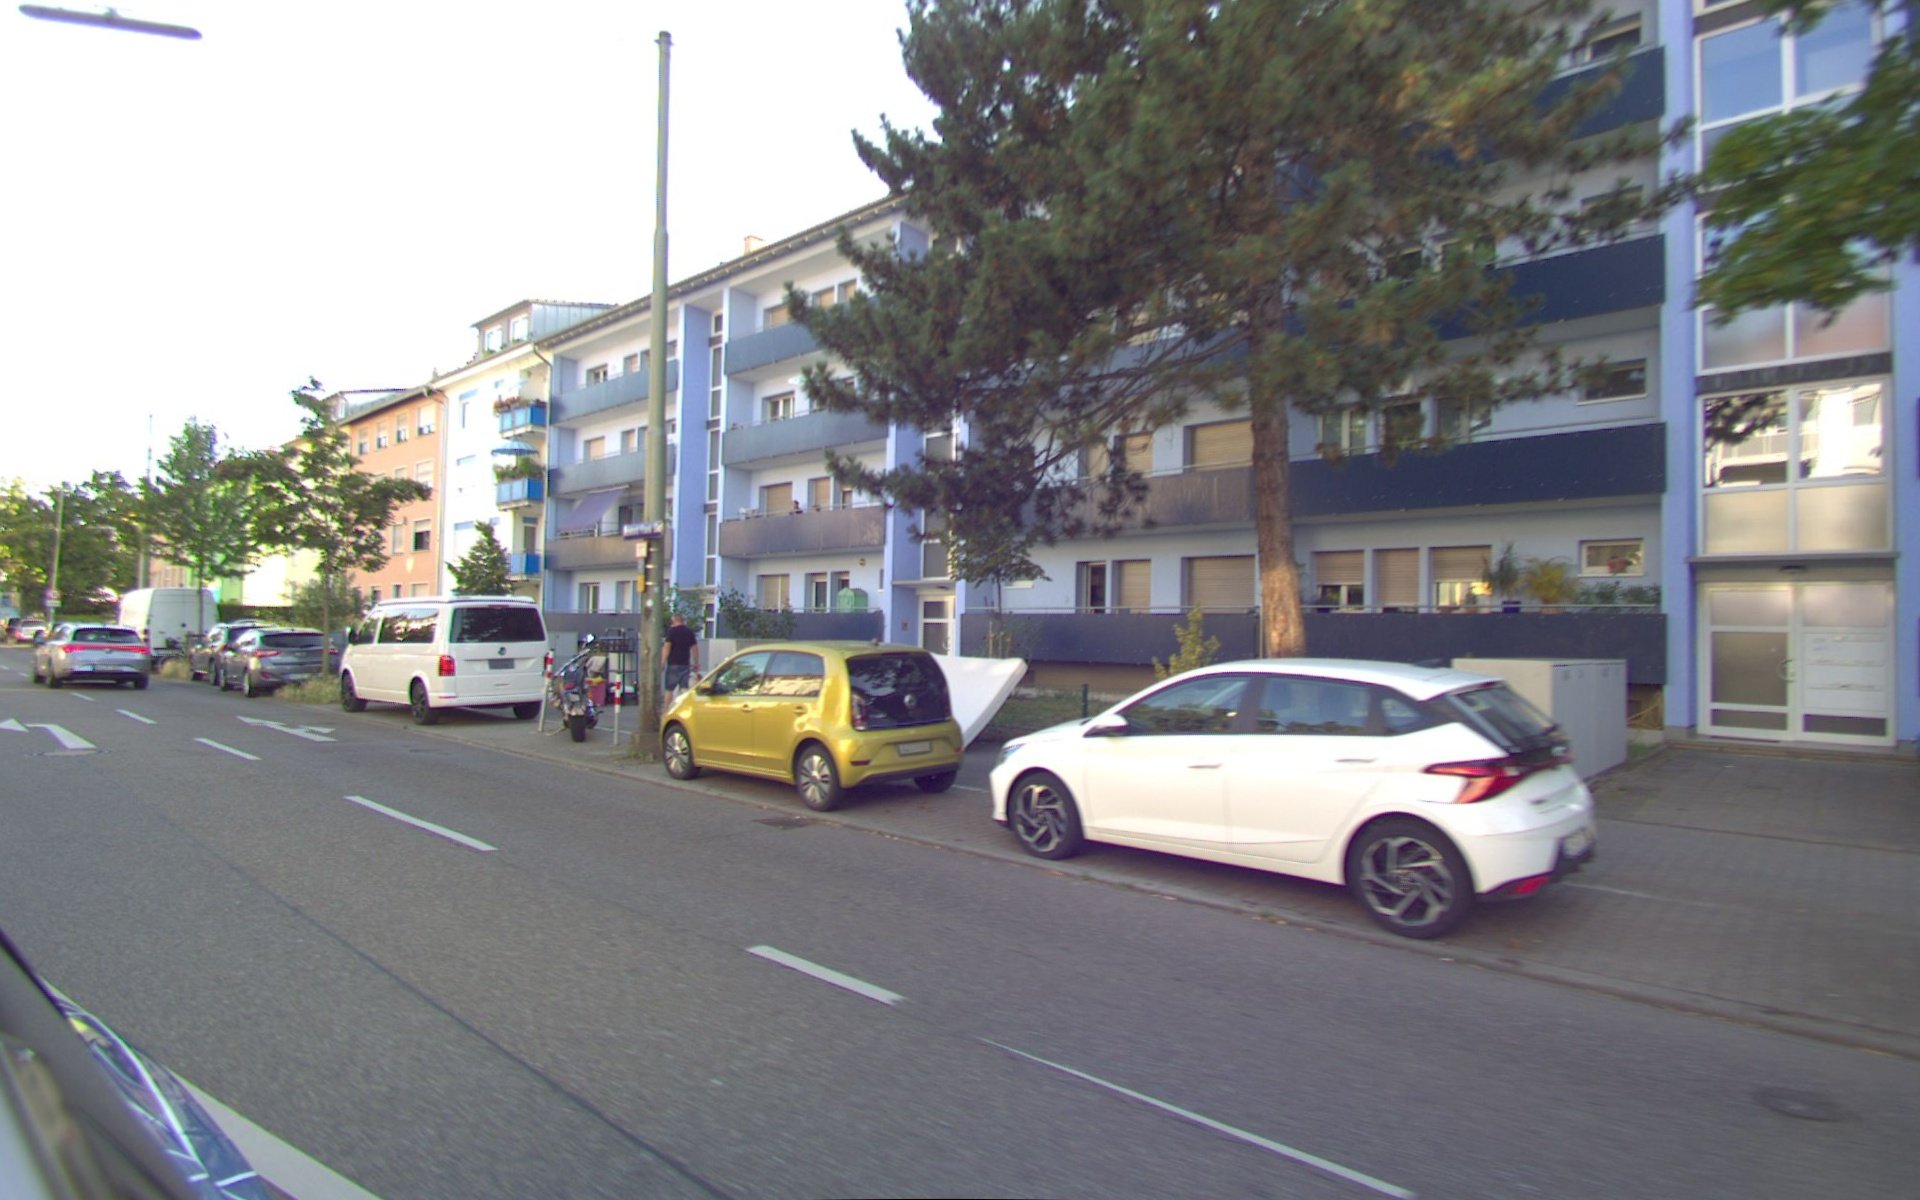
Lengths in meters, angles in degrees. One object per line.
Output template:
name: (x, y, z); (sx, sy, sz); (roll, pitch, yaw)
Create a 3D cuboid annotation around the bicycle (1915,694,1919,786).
bicycle: (11.185, 1.524, 10.518); (1.738, 0.996, 0.500); (0, -3, 24)

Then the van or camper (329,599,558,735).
van or camper: (-8.944, 1.061, 17.329); (4.862, 2.029, 1.785); (-1, -3, 41)

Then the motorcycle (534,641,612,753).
motorcycle: (-5.392, 1.289, 14.034); (0.780, 1.412, 2.024); (2, -3, -26)

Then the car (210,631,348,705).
car: (-15.530, 1.477, 23.015); (3.957, 1.509, 1.784); (-1, -3, 44)

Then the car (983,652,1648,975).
car: (2.135, 1.118, 6.802); (3.882, 1.454, 1.661); (-2, -2, 44)

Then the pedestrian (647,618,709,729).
pedestrian: (-4.559, 1.175, 16.390); (0.647, 1.750, 0.688); (-1, -3, 42)

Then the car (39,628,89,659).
car: (-44.710, 2.156, 50.472); (1.737, 1.459, 3.789); (3, -3, -43)

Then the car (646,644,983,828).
car: (-1.570, 1.202, 10.186); (3.491, 1.480, 1.556); (-2, -2, 44)

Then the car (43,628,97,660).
car: (-41.926, 2.059, 47.656); (1.737, 1.459, 3.594); (3, -3, -43)

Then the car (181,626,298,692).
car: (-19.064, 1.514, 26.720); (3.957, 1.603, 1.784); (-1, -3, 44)

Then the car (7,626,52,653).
car: (-57.777, 2.436, 62.836); (3.957, 1.609, 1.784); (-1, -3, 44)

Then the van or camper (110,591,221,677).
van or camper: (-25.636, 1.083, 32.581); (5.334, 2.562, 1.892); (-1, -3, 43)

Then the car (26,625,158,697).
car: (-19.897, 1.361, 23.149); (3.955, 1.493, 1.703); (-1, -4, 42)
